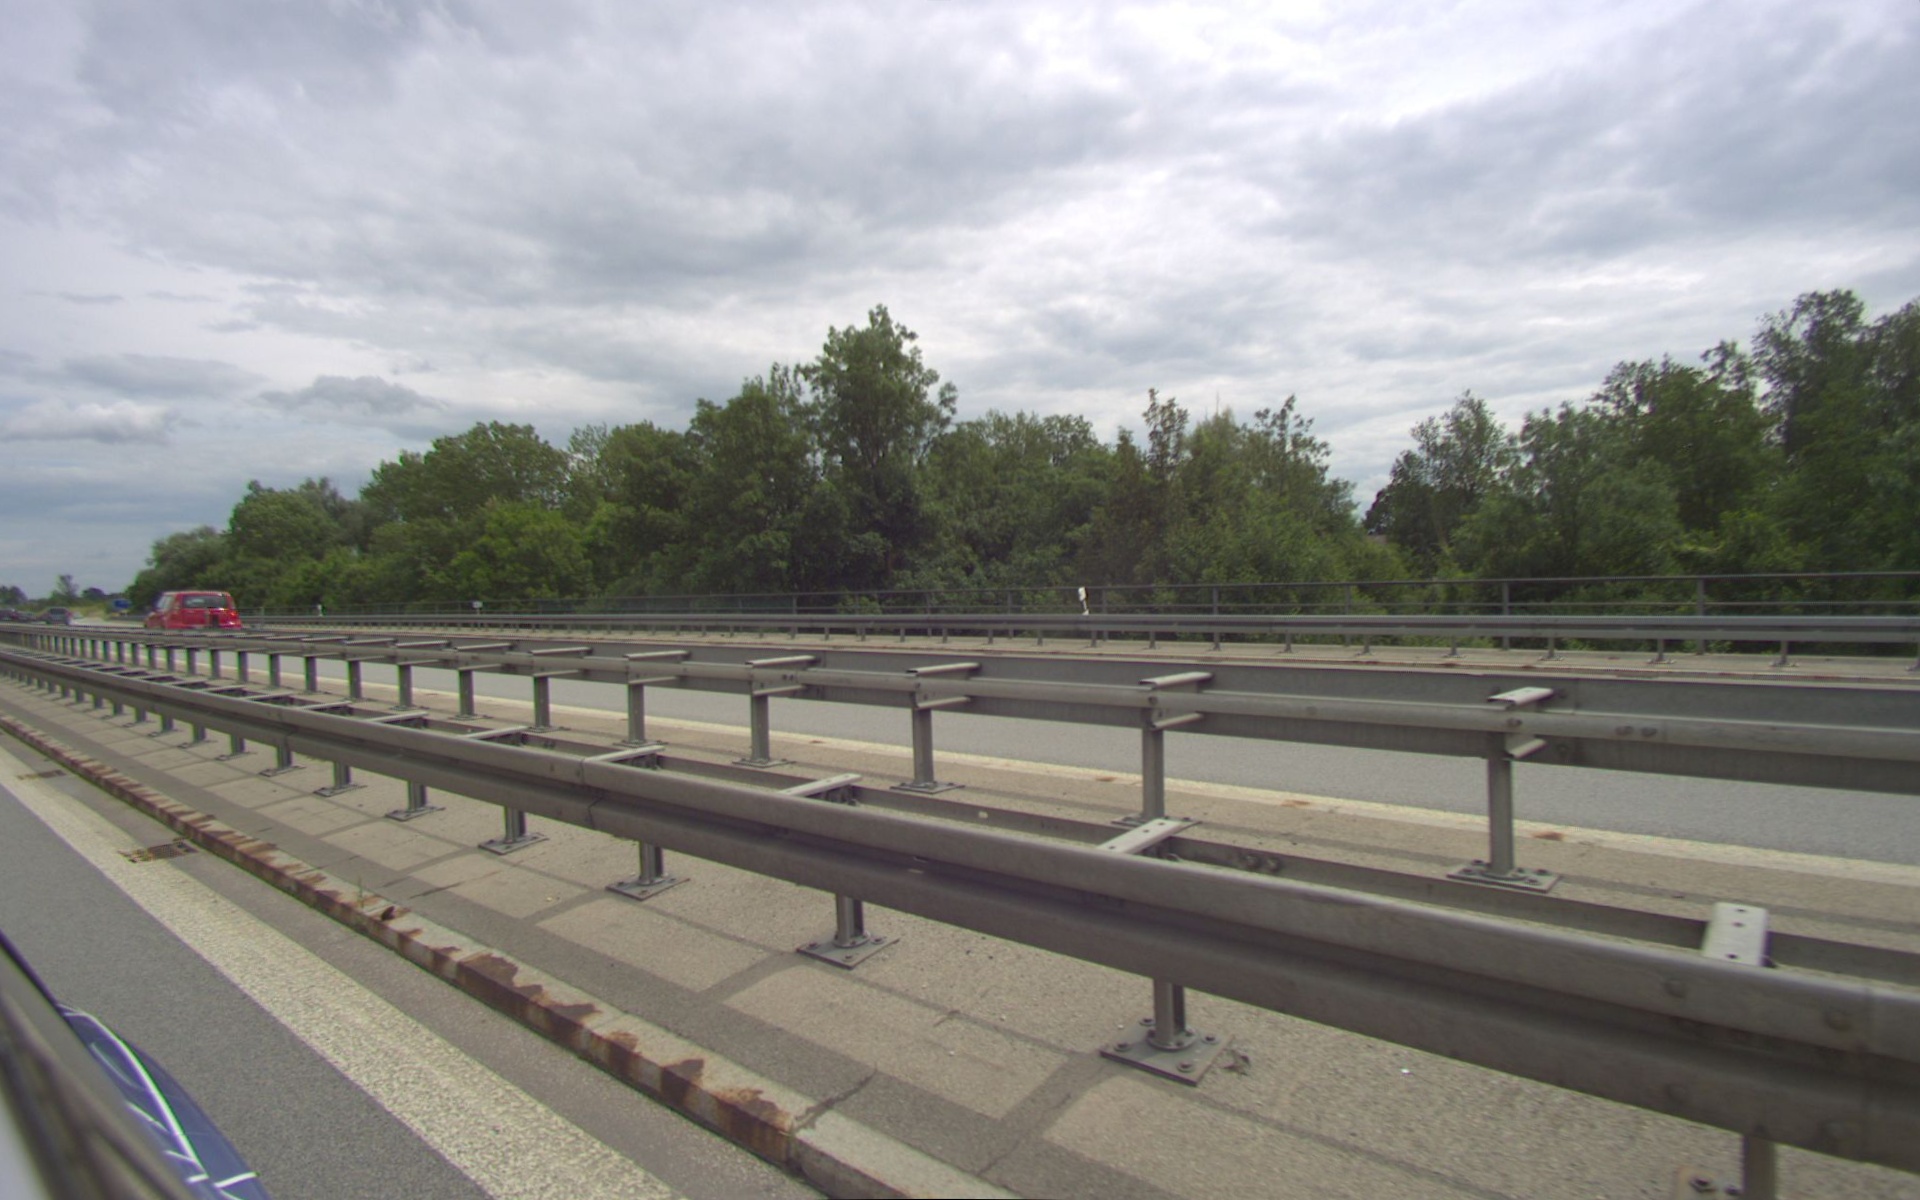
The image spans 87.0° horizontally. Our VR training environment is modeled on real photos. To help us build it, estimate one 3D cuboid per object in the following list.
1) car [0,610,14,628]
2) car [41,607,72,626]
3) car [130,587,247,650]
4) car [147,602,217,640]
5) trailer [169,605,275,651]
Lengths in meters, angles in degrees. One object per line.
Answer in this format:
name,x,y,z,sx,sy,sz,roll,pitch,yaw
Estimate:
car,-86.004,1.707,90.764,1.625,1.561,4.003,0,0,-44
car,-89.928,1.648,100.677,4.226,1.758,1.971,-1,1,44
car,-22.499,0.515,29.441,4.566,1.653,1.794,-1,1,41
car,-35.895,0.954,46.648,4.566,1.653,1.692,-1,1,41
trailer,-19.514,0.710,26.735,3.449,1.133,1.543,-1,0,41
